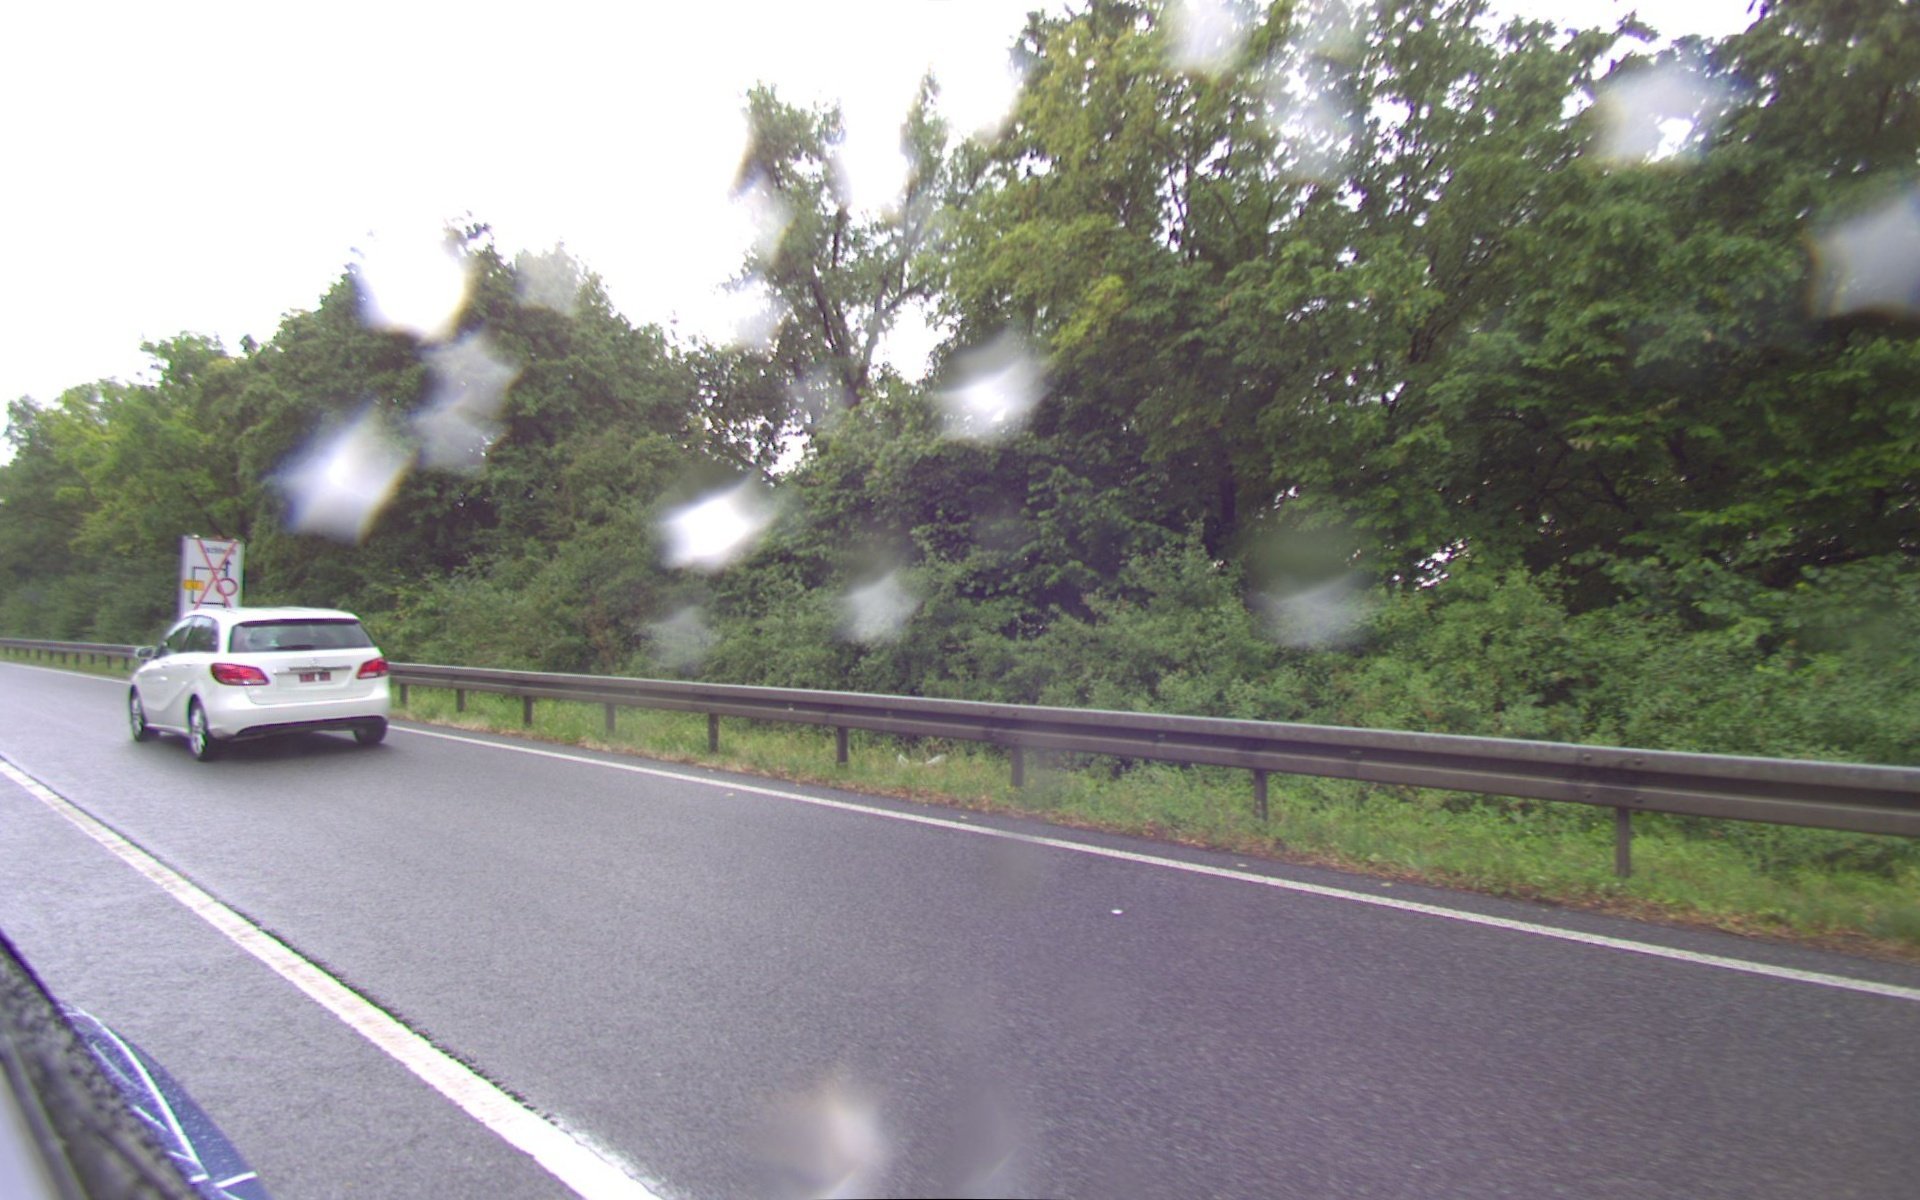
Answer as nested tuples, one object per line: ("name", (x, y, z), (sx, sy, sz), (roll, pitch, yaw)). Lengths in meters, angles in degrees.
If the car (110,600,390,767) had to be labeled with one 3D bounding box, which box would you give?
("car", (-8.361, 0.810, 11.750), (4.440, 1.567, 1.674), (-1, 0, 42))
